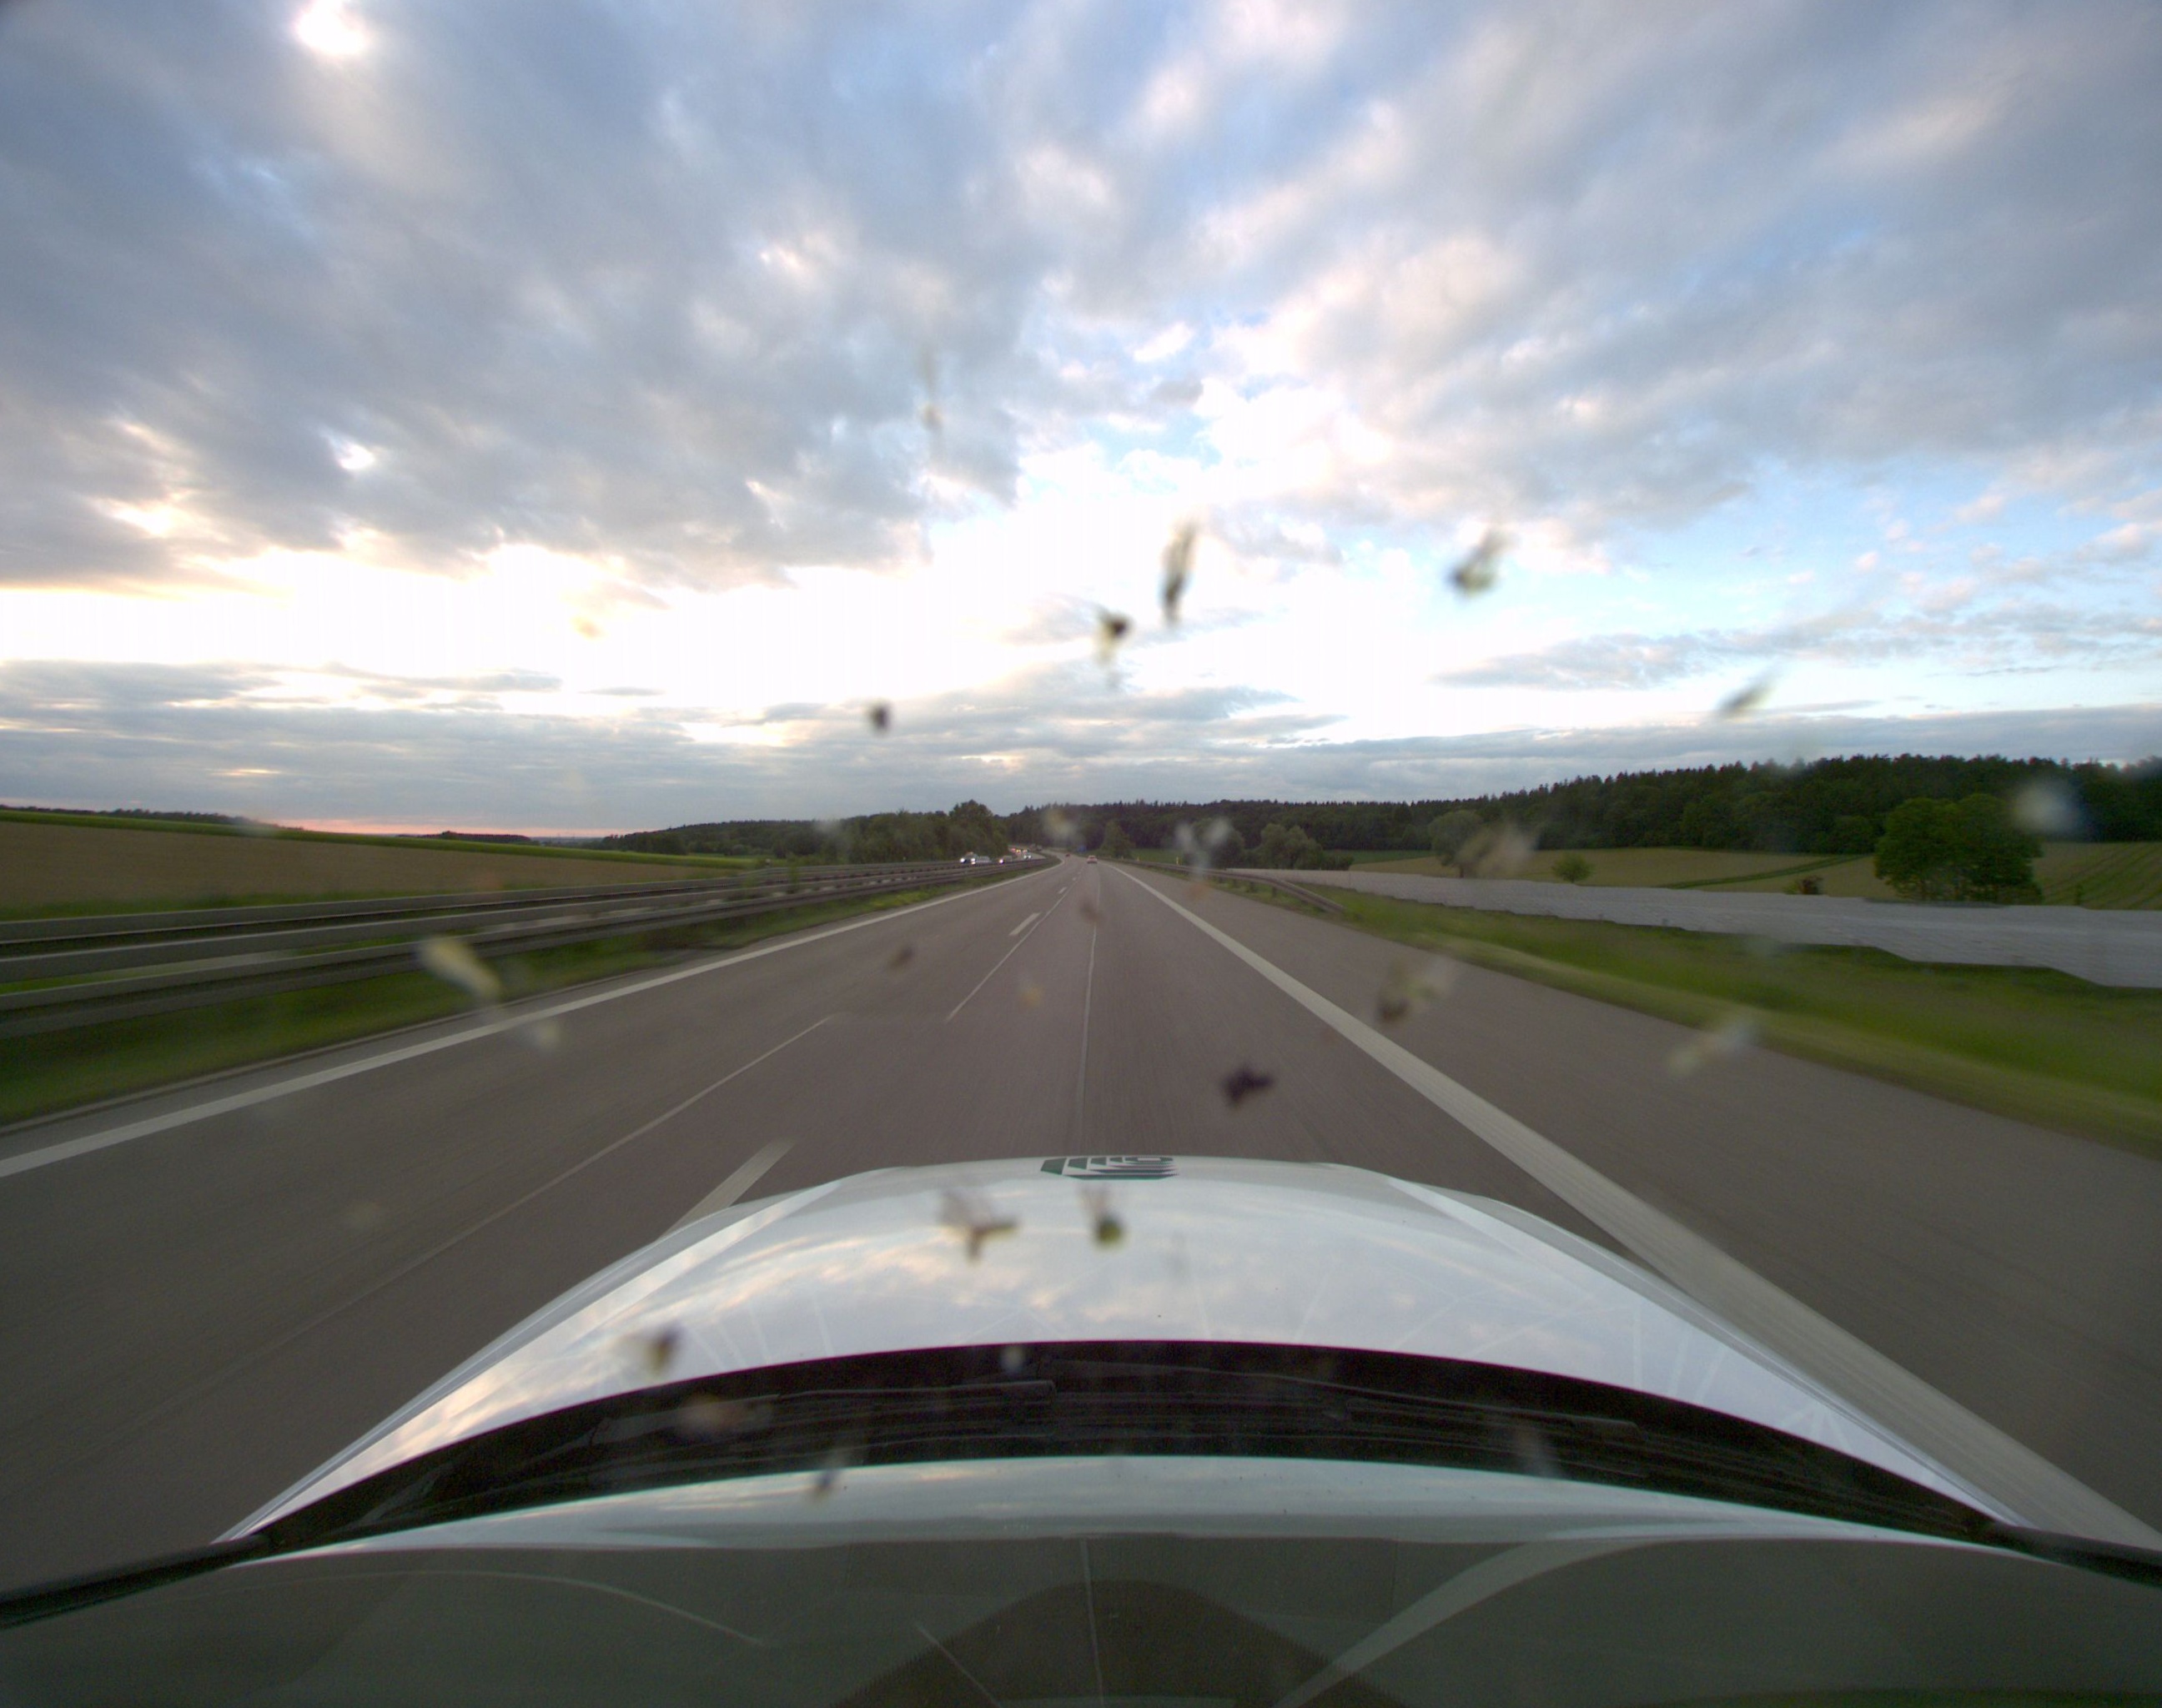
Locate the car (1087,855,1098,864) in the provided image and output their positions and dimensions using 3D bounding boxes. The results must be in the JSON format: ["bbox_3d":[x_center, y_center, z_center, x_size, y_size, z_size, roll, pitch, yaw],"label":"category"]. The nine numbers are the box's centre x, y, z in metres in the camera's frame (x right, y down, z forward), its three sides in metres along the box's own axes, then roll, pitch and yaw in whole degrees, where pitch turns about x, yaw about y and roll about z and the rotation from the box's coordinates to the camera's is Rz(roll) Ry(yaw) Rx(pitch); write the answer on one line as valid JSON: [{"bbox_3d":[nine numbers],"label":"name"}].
[{"bbox_3d":[2.247,1.016,157.877,1.945,1.531,4.080,2,1,0],"label":"car"}]

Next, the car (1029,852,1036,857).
[{"bbox_3d":[-15.286,0.169,256.956,1.986,1.627,5.737,2,1,1],"label":"car"}]

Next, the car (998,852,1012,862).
[{"bbox_3d":[-11.212,0.430,120.297,1.655,1.440,4.128,2,1,-1],"label":"car"}]

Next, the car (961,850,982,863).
[{"bbox_3d":[-14.815,0.329,110.203,1.879,1.693,5.771,2,0,2],"label":"car"}]

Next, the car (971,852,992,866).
[{"bbox_3d":[-11.175,0.533,91.750,1.560,1.365,4.622,2,1,2],"label":"car"}]
